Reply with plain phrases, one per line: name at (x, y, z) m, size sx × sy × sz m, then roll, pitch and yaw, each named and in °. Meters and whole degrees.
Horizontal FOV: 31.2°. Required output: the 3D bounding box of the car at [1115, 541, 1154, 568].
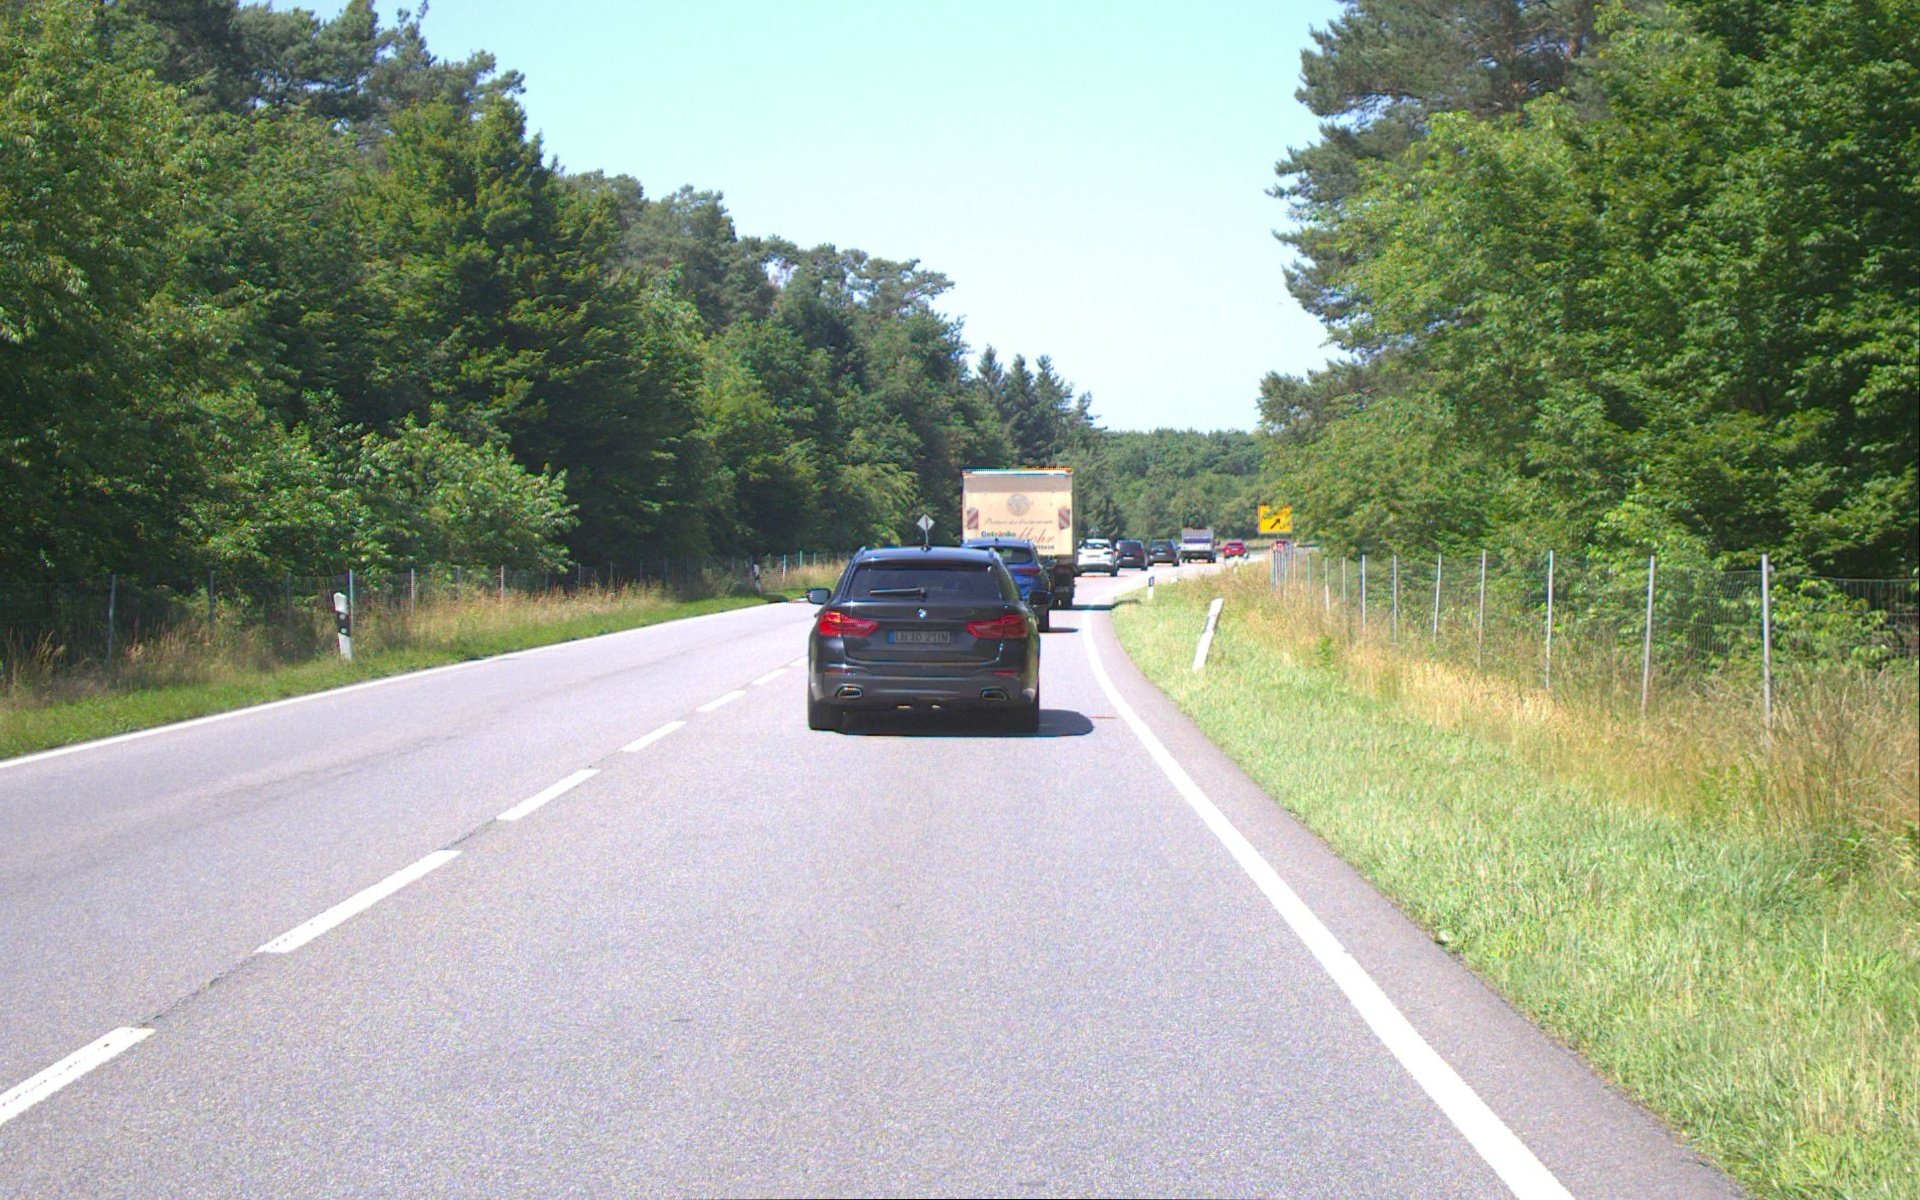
car at (9.403, -2.459, 184.838) m, size 1.994 × 1.415 × 4.000 m, roll 1°, pitch 1°, yaw 4°

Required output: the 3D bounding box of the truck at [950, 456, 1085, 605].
truck at (1.415, -1.651, 81.470) m, size 2.966 × 3.376 × 6.438 m, roll 0°, pitch 1°, yaw 3°

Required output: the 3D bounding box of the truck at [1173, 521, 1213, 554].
truck at (16.050, -4.295, 236.561) m, size 2.564 × 2.194 × 4.973 m, roll -1°, pitch 2°, yaw 5°

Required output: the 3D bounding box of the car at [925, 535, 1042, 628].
car at (0.399, -0.349, 60.307) m, size 1.947 × 1.536 × 4.000 m, roll -1°, pitch 1°, yaw 0°

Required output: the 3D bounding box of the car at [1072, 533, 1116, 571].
car at (5.889, -2.123, 151.687) m, size 1.863 × 1.600 × 4.000 m, roll -1°, pitch 1°, yaw 2°

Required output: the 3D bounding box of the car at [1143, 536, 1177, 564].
car at (12.240, -3.074, 210.345) m, size 1.994 × 1.631 × 4.000 m, roll -1°, pitch 1°, yaw 4°

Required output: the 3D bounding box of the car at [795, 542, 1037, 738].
car at (-0.431, 0.273, 28.365) m, size 1.820 × 1.465 × 4.001 m, roll -1°, pitch 1°, yaw -3°
